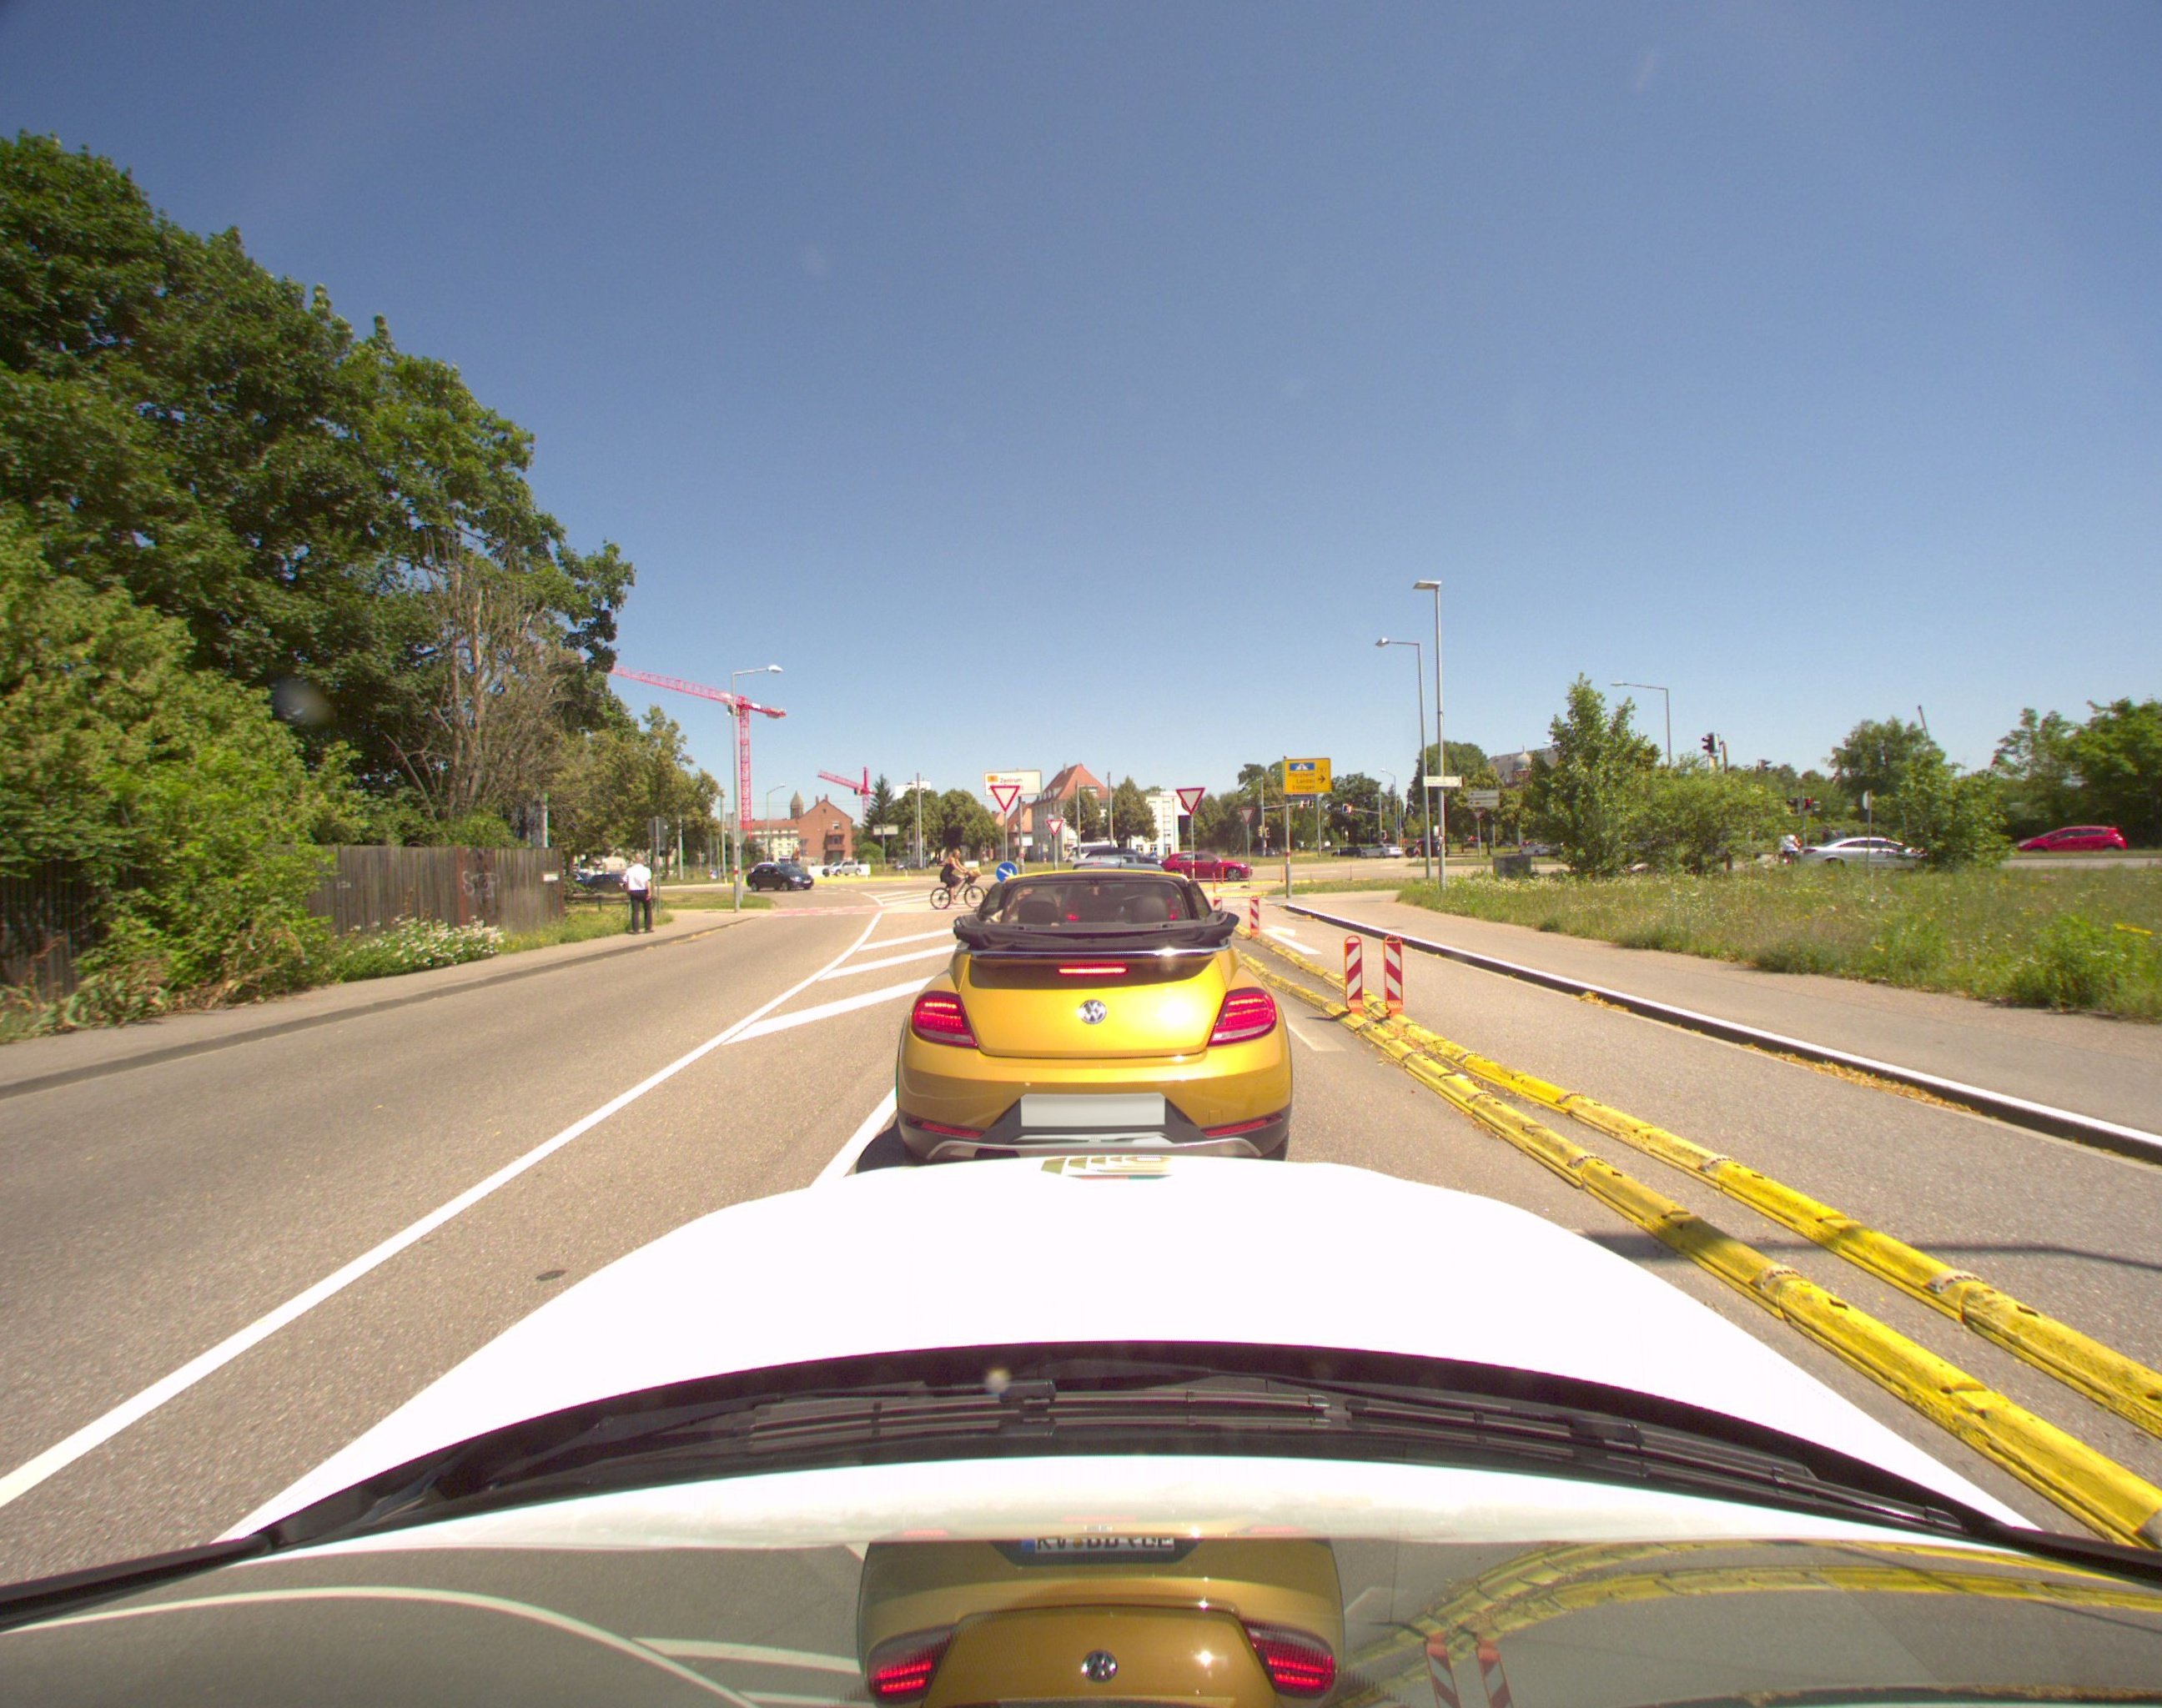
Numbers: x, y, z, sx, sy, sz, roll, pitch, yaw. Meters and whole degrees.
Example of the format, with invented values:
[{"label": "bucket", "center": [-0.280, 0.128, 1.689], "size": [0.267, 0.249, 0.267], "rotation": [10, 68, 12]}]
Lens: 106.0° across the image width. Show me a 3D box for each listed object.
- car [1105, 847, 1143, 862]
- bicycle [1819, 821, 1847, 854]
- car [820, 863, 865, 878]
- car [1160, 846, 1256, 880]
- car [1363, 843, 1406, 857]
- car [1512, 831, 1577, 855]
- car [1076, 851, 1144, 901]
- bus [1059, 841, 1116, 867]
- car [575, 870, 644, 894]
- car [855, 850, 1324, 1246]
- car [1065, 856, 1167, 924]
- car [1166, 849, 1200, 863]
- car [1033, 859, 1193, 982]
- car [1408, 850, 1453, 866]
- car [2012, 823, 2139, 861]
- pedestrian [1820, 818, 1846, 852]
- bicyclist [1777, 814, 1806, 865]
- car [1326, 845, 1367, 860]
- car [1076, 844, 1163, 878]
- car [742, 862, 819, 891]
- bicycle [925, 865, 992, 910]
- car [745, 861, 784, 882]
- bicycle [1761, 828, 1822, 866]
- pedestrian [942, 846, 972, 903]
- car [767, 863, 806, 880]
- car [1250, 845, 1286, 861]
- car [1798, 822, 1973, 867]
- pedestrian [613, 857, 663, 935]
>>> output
[{"label": "car", "center": [5.362, 0.056, 101.176], "size": [4.393, 1.736, 1.858], "rotation": [-1, -1, 20]}, {"label": "bicycle", "center": [37.998, -0.812, 41.152], "size": [0.972, 1.597, 2.900], "rotation": [-1, -1, 43]}, {"label": "car", "center": [-23.171, 1.560, 79.235], "size": [1.711, 1.402, 4.297], "rotation": [-1, -1, 29]}, {"label": "car", "center": [5.993, 0.430, 38.684], "size": [4.381, 1.527, 2.004], "rotation": [0, -1, 7]}, {"label": "car", "center": [29.886, -0.384, 80.306], "size": [1.751, 1.371, 4.305], "rotation": [0, -1, -17]}, {"label": "car", "center": [40.126, -0.894, 70.667], "size": [1.988, 1.962, 5.308], "rotation": [0, -1, -11]}, {"label": "car", "center": [0.985, 0.679, 27.802], "size": [2.057, 1.481, 4.545], "rotation": [-2, 0, 2]}, {"label": "bus", "center": [0.828, 0.009, 104.943], "size": [7.228, 3.172, 2.261], "rotation": [0, -1, 0]}, {"label": "car", "center": [-31.905, 1.883, 55.081], "size": [3.957, 1.552, 1.735], "rotation": [-1, -1, 15]}, {"label": "car", "center": [0.094, 0.747, 5.194], "size": [1.758, 1.481, 4.259], "rotation": [0, -1, 2]}, {"label": "car", "center": [0.769, 0.747, 18.663], "size": [2.057, 1.382, 4.259], "rotation": [0, 0, 2]}, {"label": "car", "center": [12.912, 0.286, 103.290], "size": [3.952, 1.772, 1.796], "rotation": [-1, -1, 23]}, {"label": "car", "center": [0.448, 0.798, 11.755], "size": [1.844, 1.366, 4.260], "rotation": [-2, 0, 2]}, {"label": "car", "center": [35.117, 0.431, 81.921], "size": [1.880, 1.614, 4.305], "rotation": [0, -1, -17]}, {"label": "car", "center": [50.615, -0.573, 41.576], "size": [3.889, 1.817, 1.673], "rotation": [-1, -1, 44]}, {"label": "pedestrian", "center": [37.899, -0.940, 41.043], "size": [0.959, 1.660, 0.892], "rotation": [-1, -1, 44]}, {"label": "bicyclist", "center": [25.755, -0.512, 29.507], "size": [0.573, 1.841, 0.603], "rotation": [0, -1, -29]}, {"label": "car", "center": [31.261, -0.173, 95.985], "size": [1.857, 1.736, 4.394], "rotation": [0, -1, -37]}, {"label": "car", "center": [2.118, 0.386, 44.284], "size": [4.374, 1.595, 2.008], "rotation": [-2, 3, 13]}, {"label": "car", "center": [-17.041, 1.287, 46.172], "size": [4.287, 1.552, 1.739], "rotation": [-1, 1, 31]}, {"label": "bicycle", "center": [-3.671, 1.003, 24.485], "size": [1.830, 1.231, 0.615], "rotation": [-3, -1, 12]}, {"label": "car", "center": [-24.851, 1.347, 64.037], "size": [1.773, 1.527, 3.866], "rotation": [-2, 0, -5]}, {"label": "bicycle", "center": [25.747, -0.241, 29.500], "size": [2.902, 1.353, 0.635], "rotation": [0, -1, -28]}, {"label": "pedestrian", "center": [-3.725, 0.600, 24.515], "size": [0.728, 1.691, 0.577], "rotation": [-1, -1, 11]}, {"label": "car", "center": [-25.172, 1.497, 69.709], "size": [1.740, 1.371, 4.332], "rotation": [0, 0, 1]}, {"label": "car", "center": [21.843, -0.110, 95.402], "size": [1.851, 1.736, 4.409], "rotation": [0, -1, -24]}, {"label": "car", "center": [30.636, -0.357, 31.226], "size": [4.363, 1.527, 2.013], "rotation": [-2, 0, 30]}, {"label": "pedestrian", "center": [-10.407, 0.966, 19.165], "size": [0.634, 1.786, 0.969], "rotation": [0, -1, 0]}]
